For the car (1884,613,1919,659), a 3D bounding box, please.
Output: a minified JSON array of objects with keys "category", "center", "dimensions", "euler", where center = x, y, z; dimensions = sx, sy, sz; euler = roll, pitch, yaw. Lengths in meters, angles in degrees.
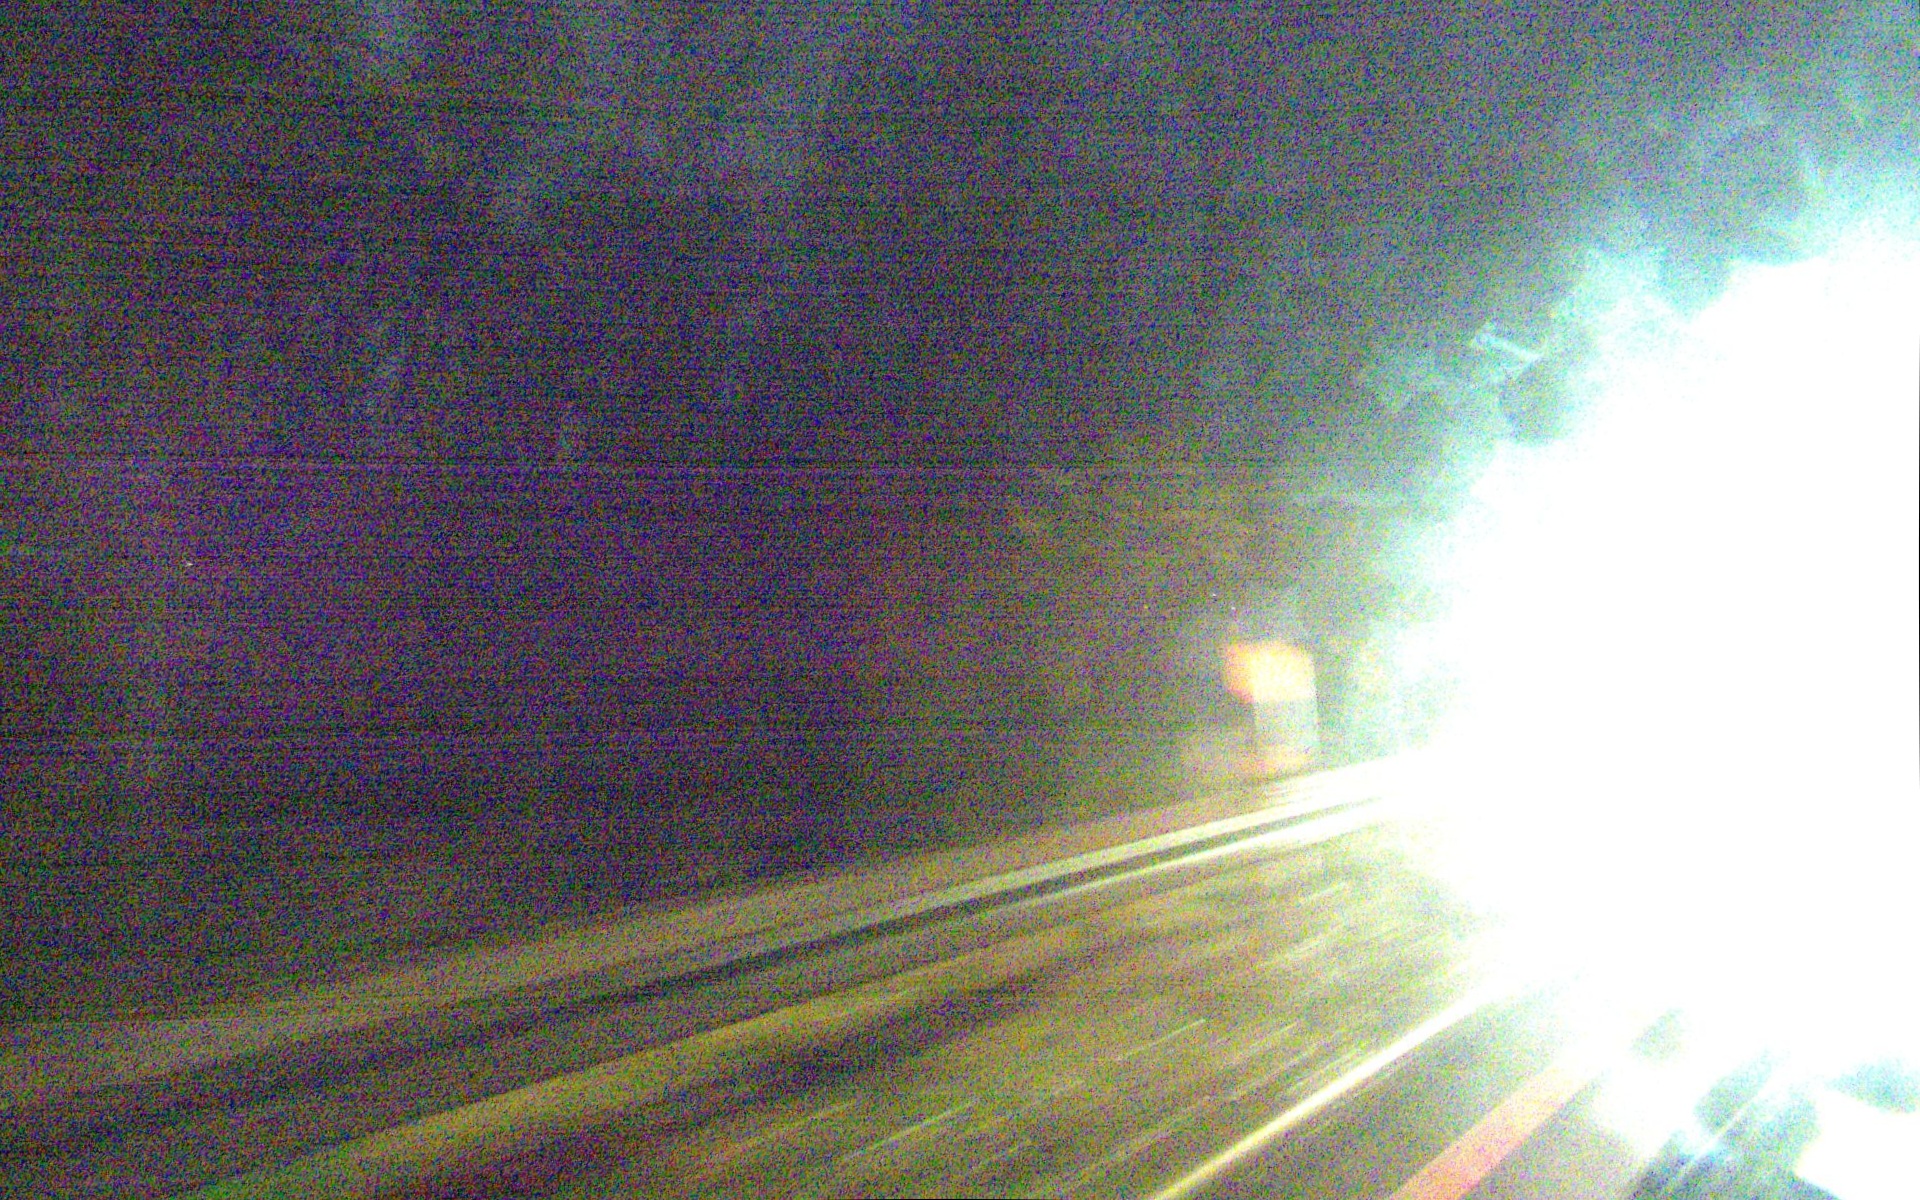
[{"category":"car","center":[39.097,1.436,41.404],"dimensions":[1.780,1.727,3.936],"euler":[-1,0,44]}]
